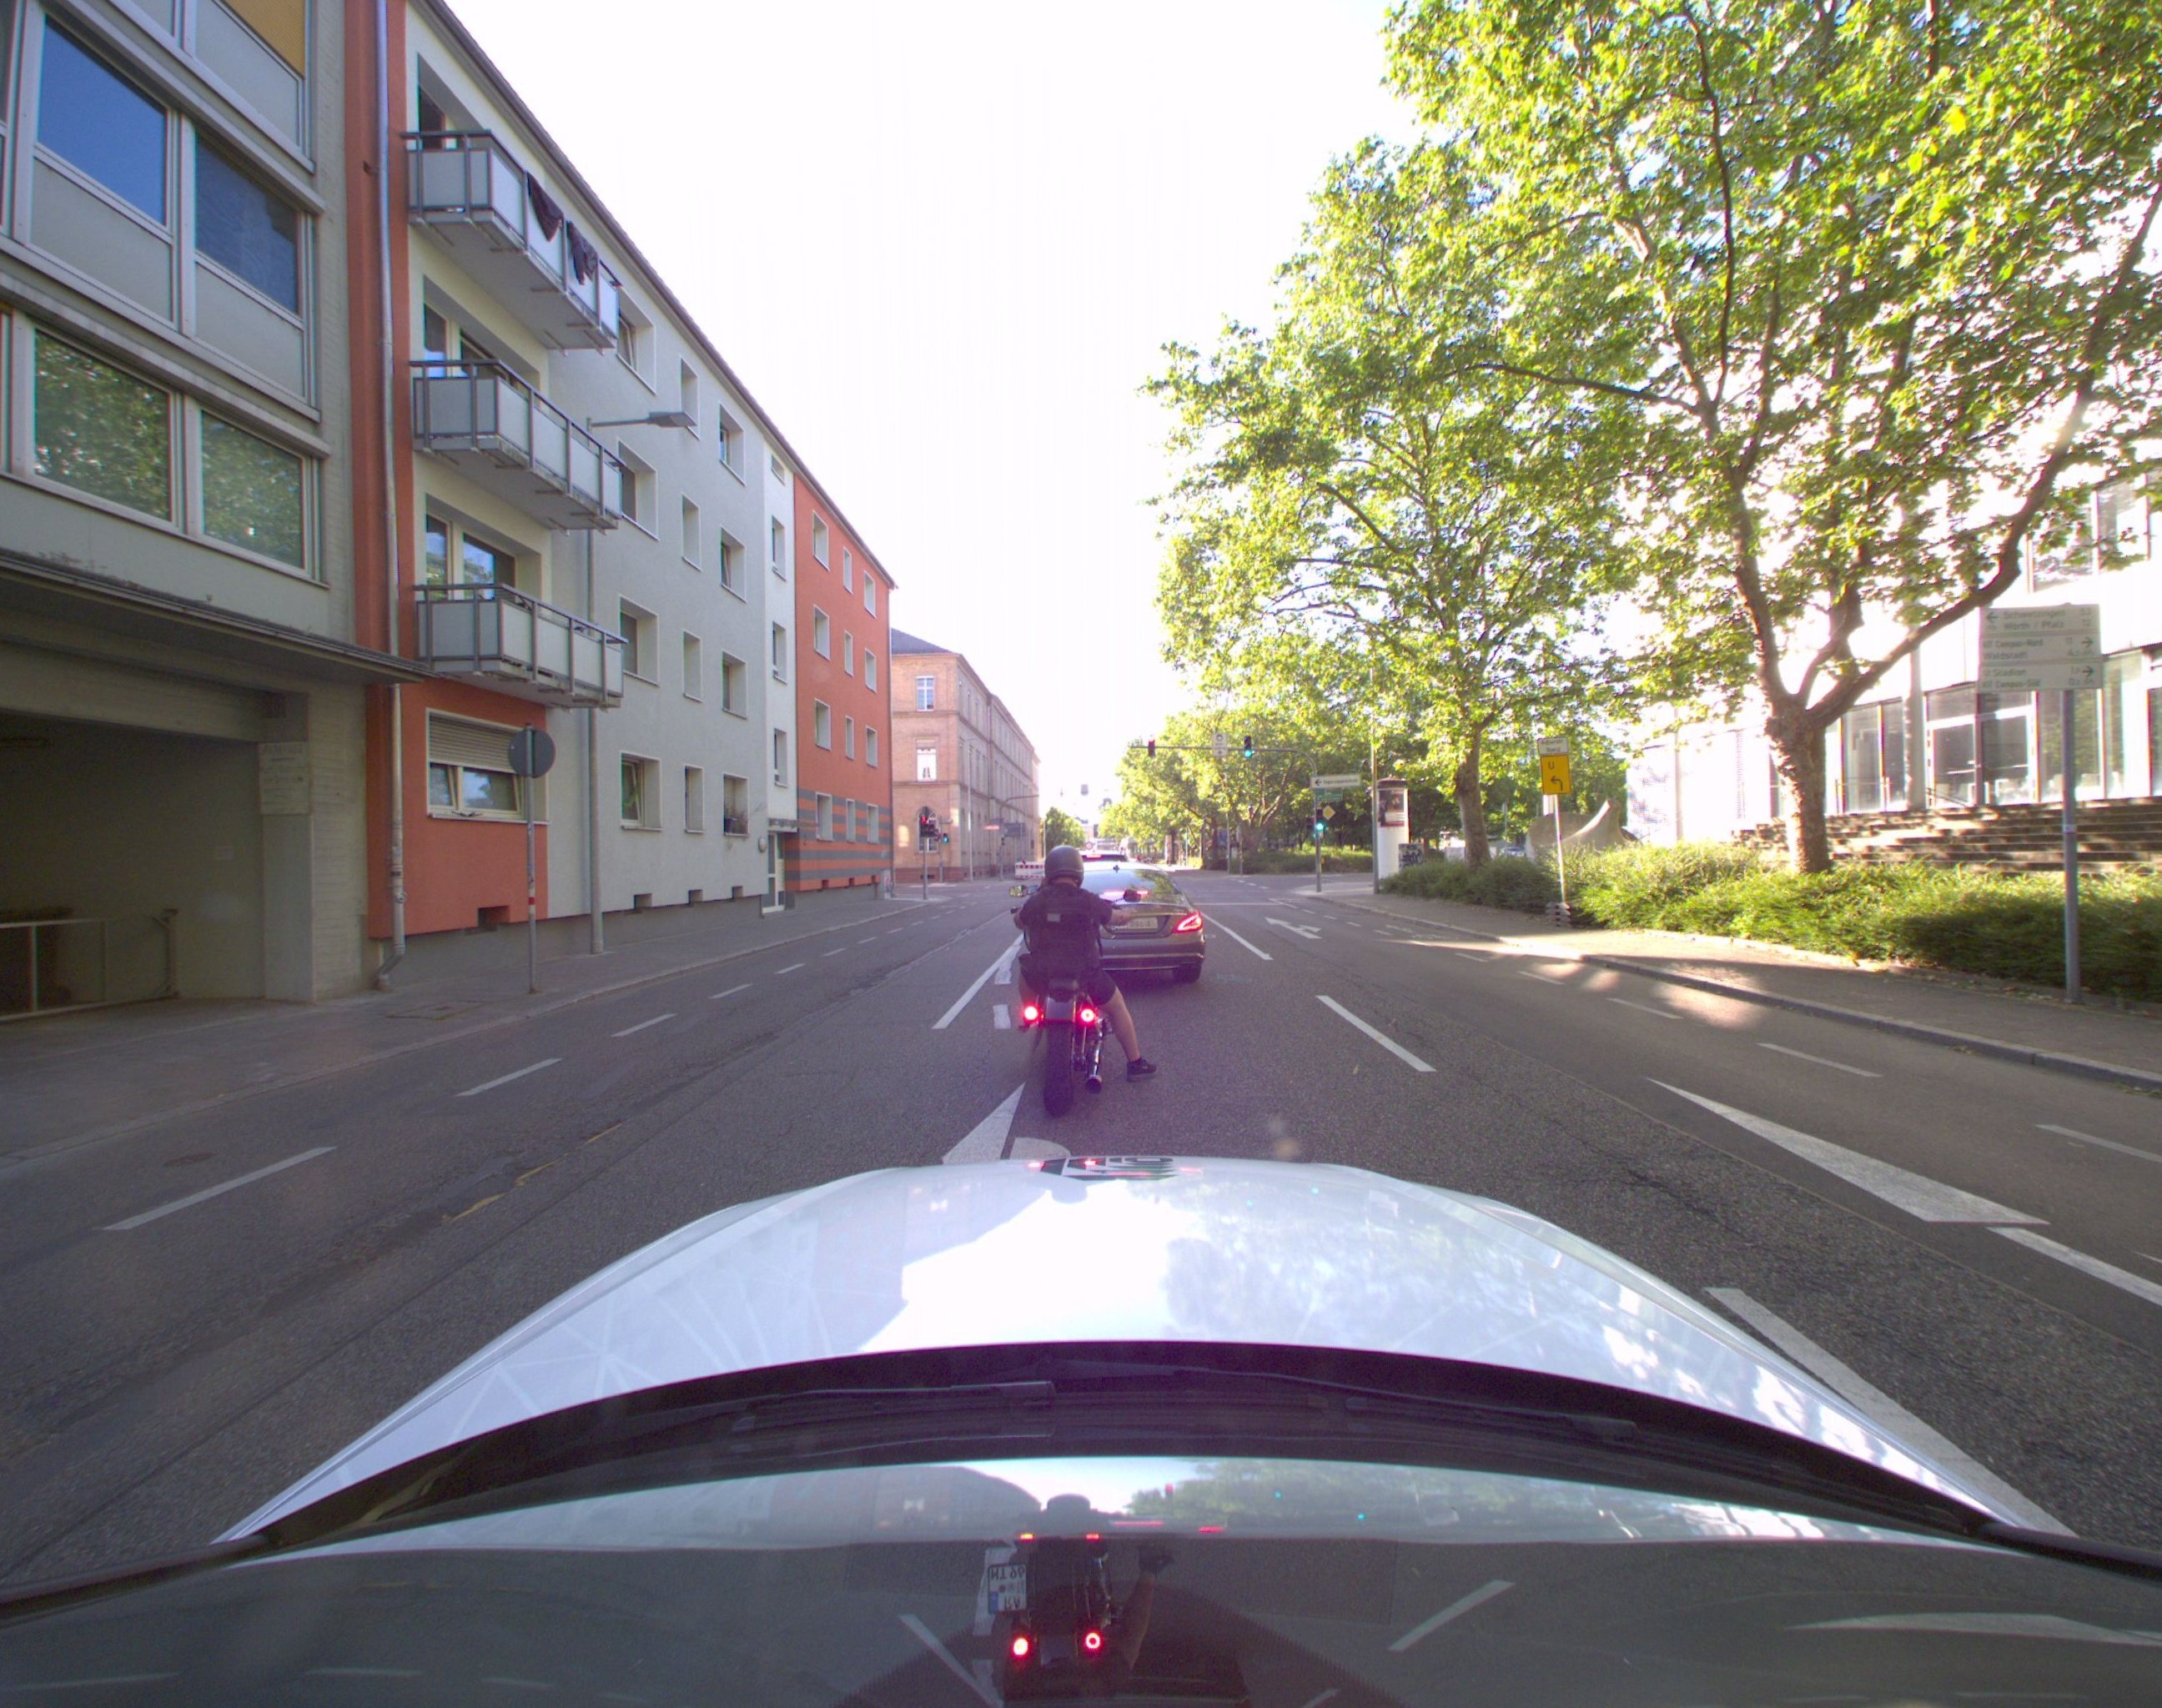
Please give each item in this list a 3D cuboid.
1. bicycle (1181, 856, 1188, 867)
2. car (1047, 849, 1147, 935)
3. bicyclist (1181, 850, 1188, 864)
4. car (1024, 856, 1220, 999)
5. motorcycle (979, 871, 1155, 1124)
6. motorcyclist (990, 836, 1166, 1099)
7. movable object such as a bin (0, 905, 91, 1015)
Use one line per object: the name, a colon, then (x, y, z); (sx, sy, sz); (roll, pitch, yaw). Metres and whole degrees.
bicycle: (11.224, 0.810, 88.616); (0.712, 1.172, 2.179); (0, -1, 6)
car: (0.268, 0.700, 16.891); (1.808, 1.536, 3.847); (-1, 0, -1)
bicyclist: (11.208, 0.343, 88.625); (0.713, 1.582, 0.937); (0, -1, 5)
car: (0.296, 0.765, 10.670); (1.900, 1.441, 4.279); (-1, 0, -6)
motorcycle: (-0.041, 0.817, 5.656); (0.958, 1.357, 2.321); (0, -1, 2)
motorcyclist: (-0.006, 0.693, 5.386); (1.057, 1.582, 0.908); (0, -1, 1)
movable object such as a bin: (-11.325, 1.105, 8.644); (0.736, 1.074, 0.716); (0, -1, 2)
